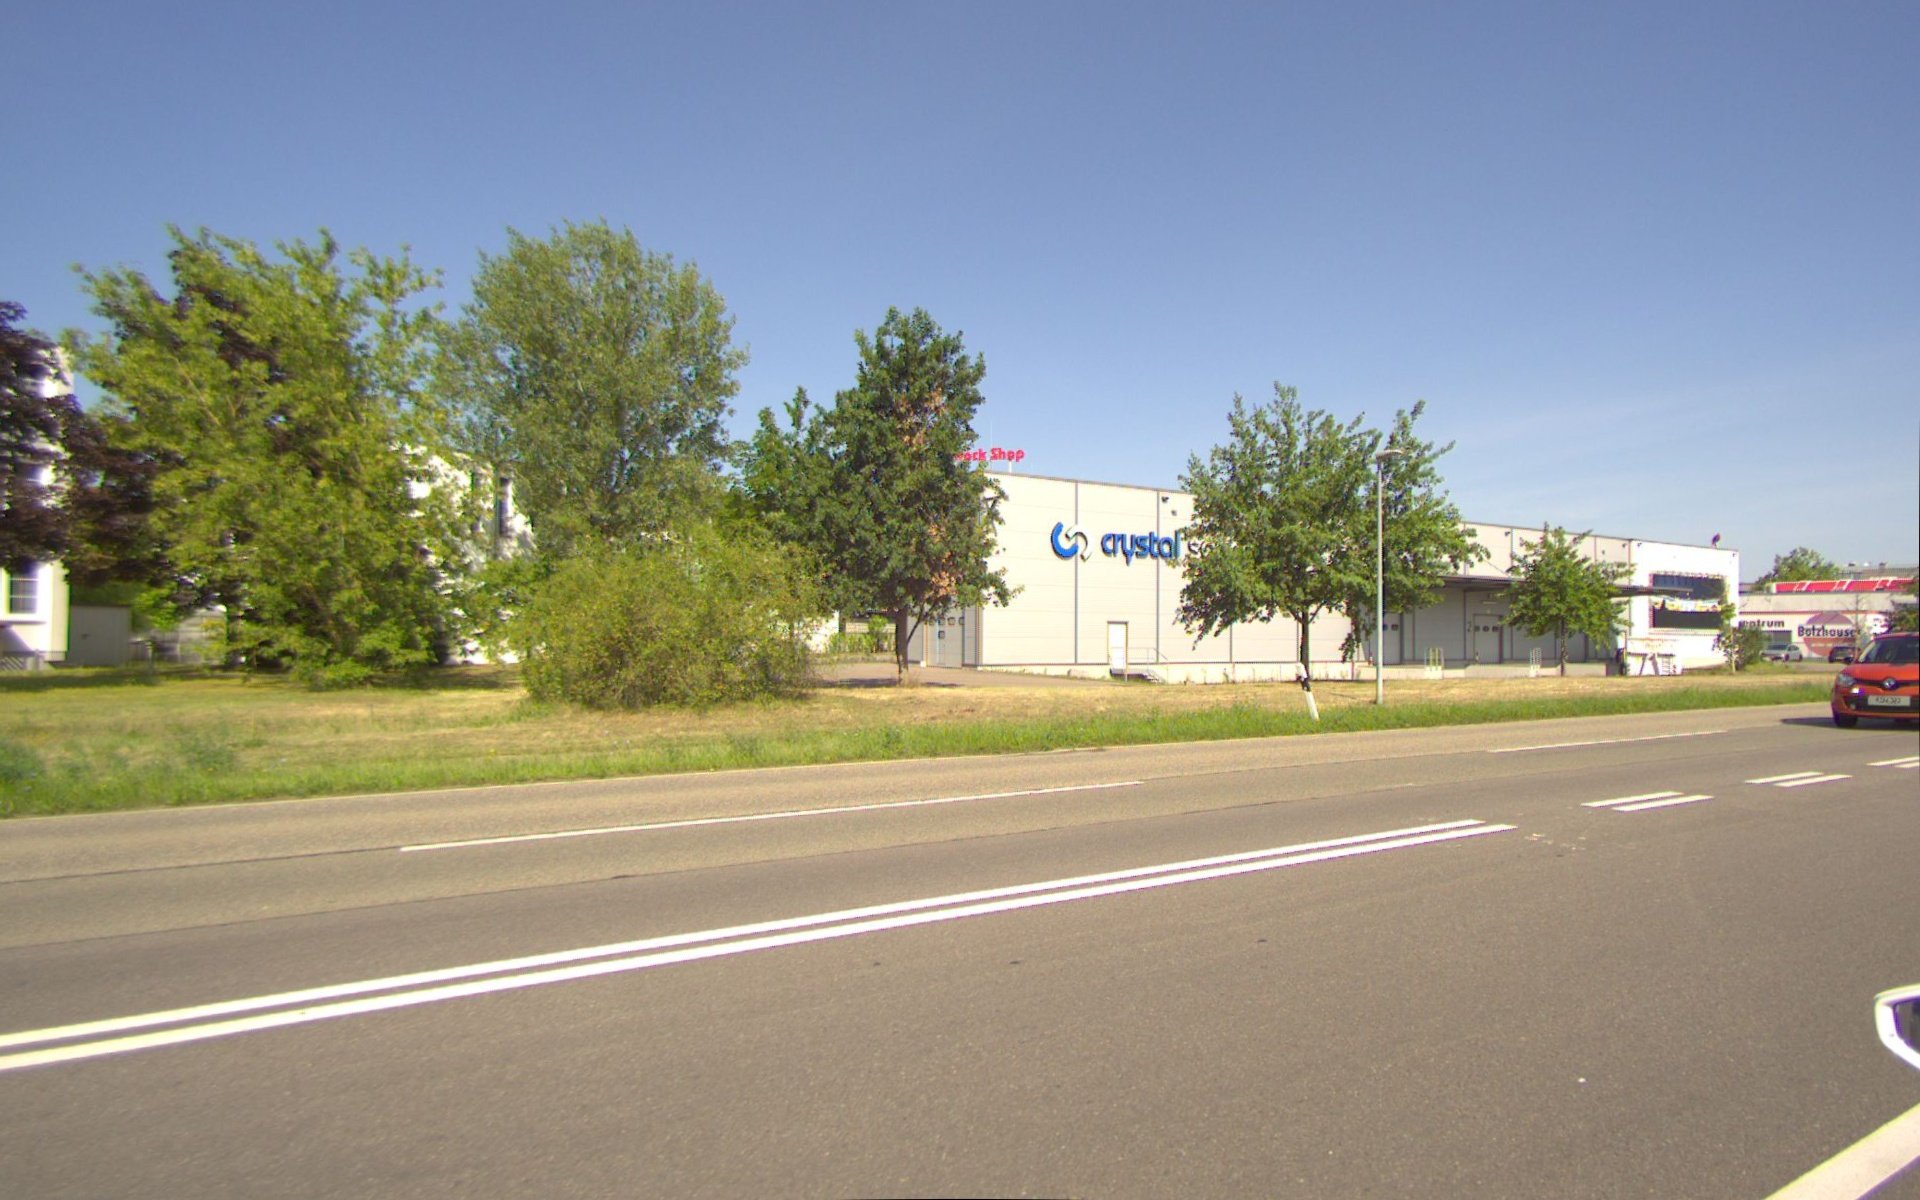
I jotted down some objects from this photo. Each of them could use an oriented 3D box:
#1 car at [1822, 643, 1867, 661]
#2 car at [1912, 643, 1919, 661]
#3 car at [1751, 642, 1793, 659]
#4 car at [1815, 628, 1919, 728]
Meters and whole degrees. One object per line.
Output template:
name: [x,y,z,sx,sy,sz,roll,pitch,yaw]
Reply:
car: [70.999,4.192,80.610,3.680,1.408,1.628,2,-2,-31]
car: [81.631,4.298,82.986,1.737,1.520,3.969,1,-3,-30]
car: [68.550,4.254,84.793,3.680,1.429,1.628,2,-2,-31]
car: [16.039,1.256,16.668,3.799,1.517,1.643,1,-4,-31]
